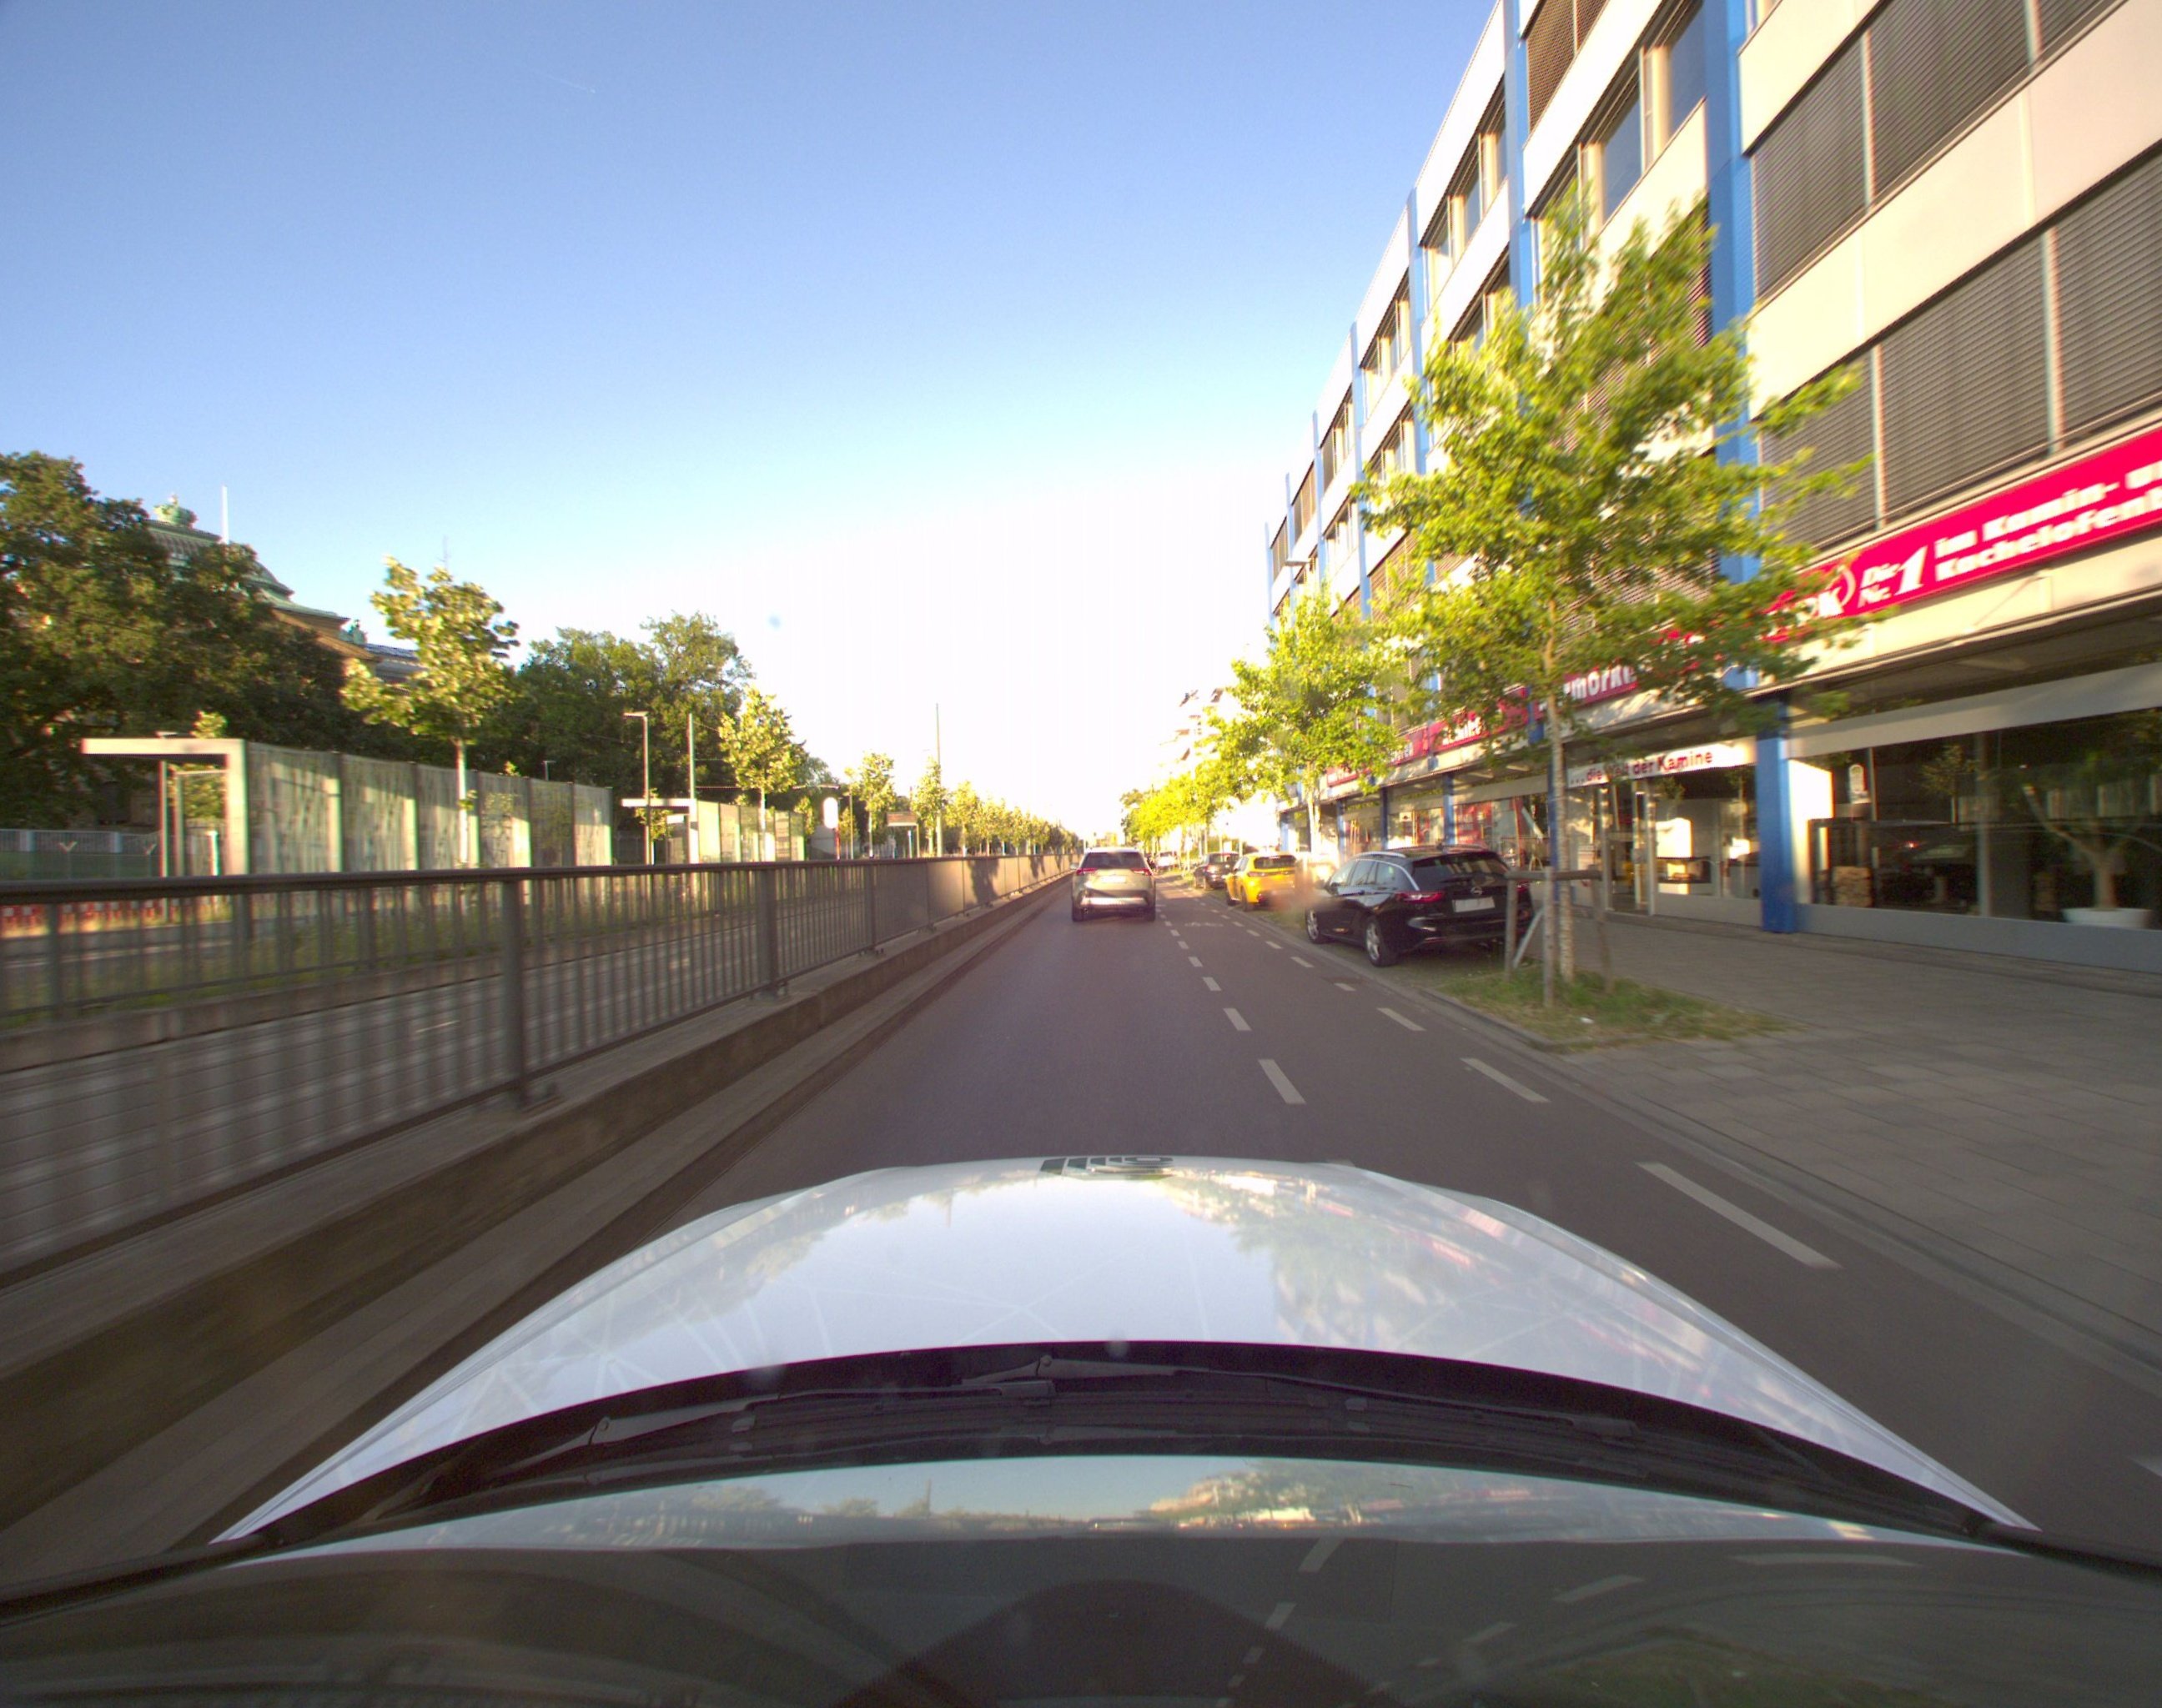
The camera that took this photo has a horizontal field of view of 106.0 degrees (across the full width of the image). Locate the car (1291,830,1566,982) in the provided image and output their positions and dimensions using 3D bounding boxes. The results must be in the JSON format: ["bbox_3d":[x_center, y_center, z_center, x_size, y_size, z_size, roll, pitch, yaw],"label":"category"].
[{"bbox_3d":[4.587,0.595,11.713,1.813,1.566,4.810,-5,0,0],"label":"car"}]

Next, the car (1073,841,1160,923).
[{"bbox_3d":[0.767,0.598,19.264,1.851,1.714,4.192,0,0,0],"label":"car"}]

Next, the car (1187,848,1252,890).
[{"bbox_3d":[5.378,0.567,32.143,1.813,1.454,4.128,-3,0,0],"label":"car"}]

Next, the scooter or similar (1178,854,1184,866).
[{"bbox_3d":[10.117,0.618,82.401,0.489,1.258,1.208,-1,-1,-1],"label":"scooter or similar"}]

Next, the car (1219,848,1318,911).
[{"bbox_3d":[4.891,0.627,21.828,1.678,1.454,4.129,-3,0,0],"label":"car"}]

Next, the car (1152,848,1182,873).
[{"bbox_3d":[6.427,0.459,61.278,1.848,1.706,4.254,-2,0,0],"label":"car"}]

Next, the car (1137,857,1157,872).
[{"bbox_3d":[7.318,1.128,90.673,1.787,1.471,4.443,-5,0,-1],"label":"car"}]
